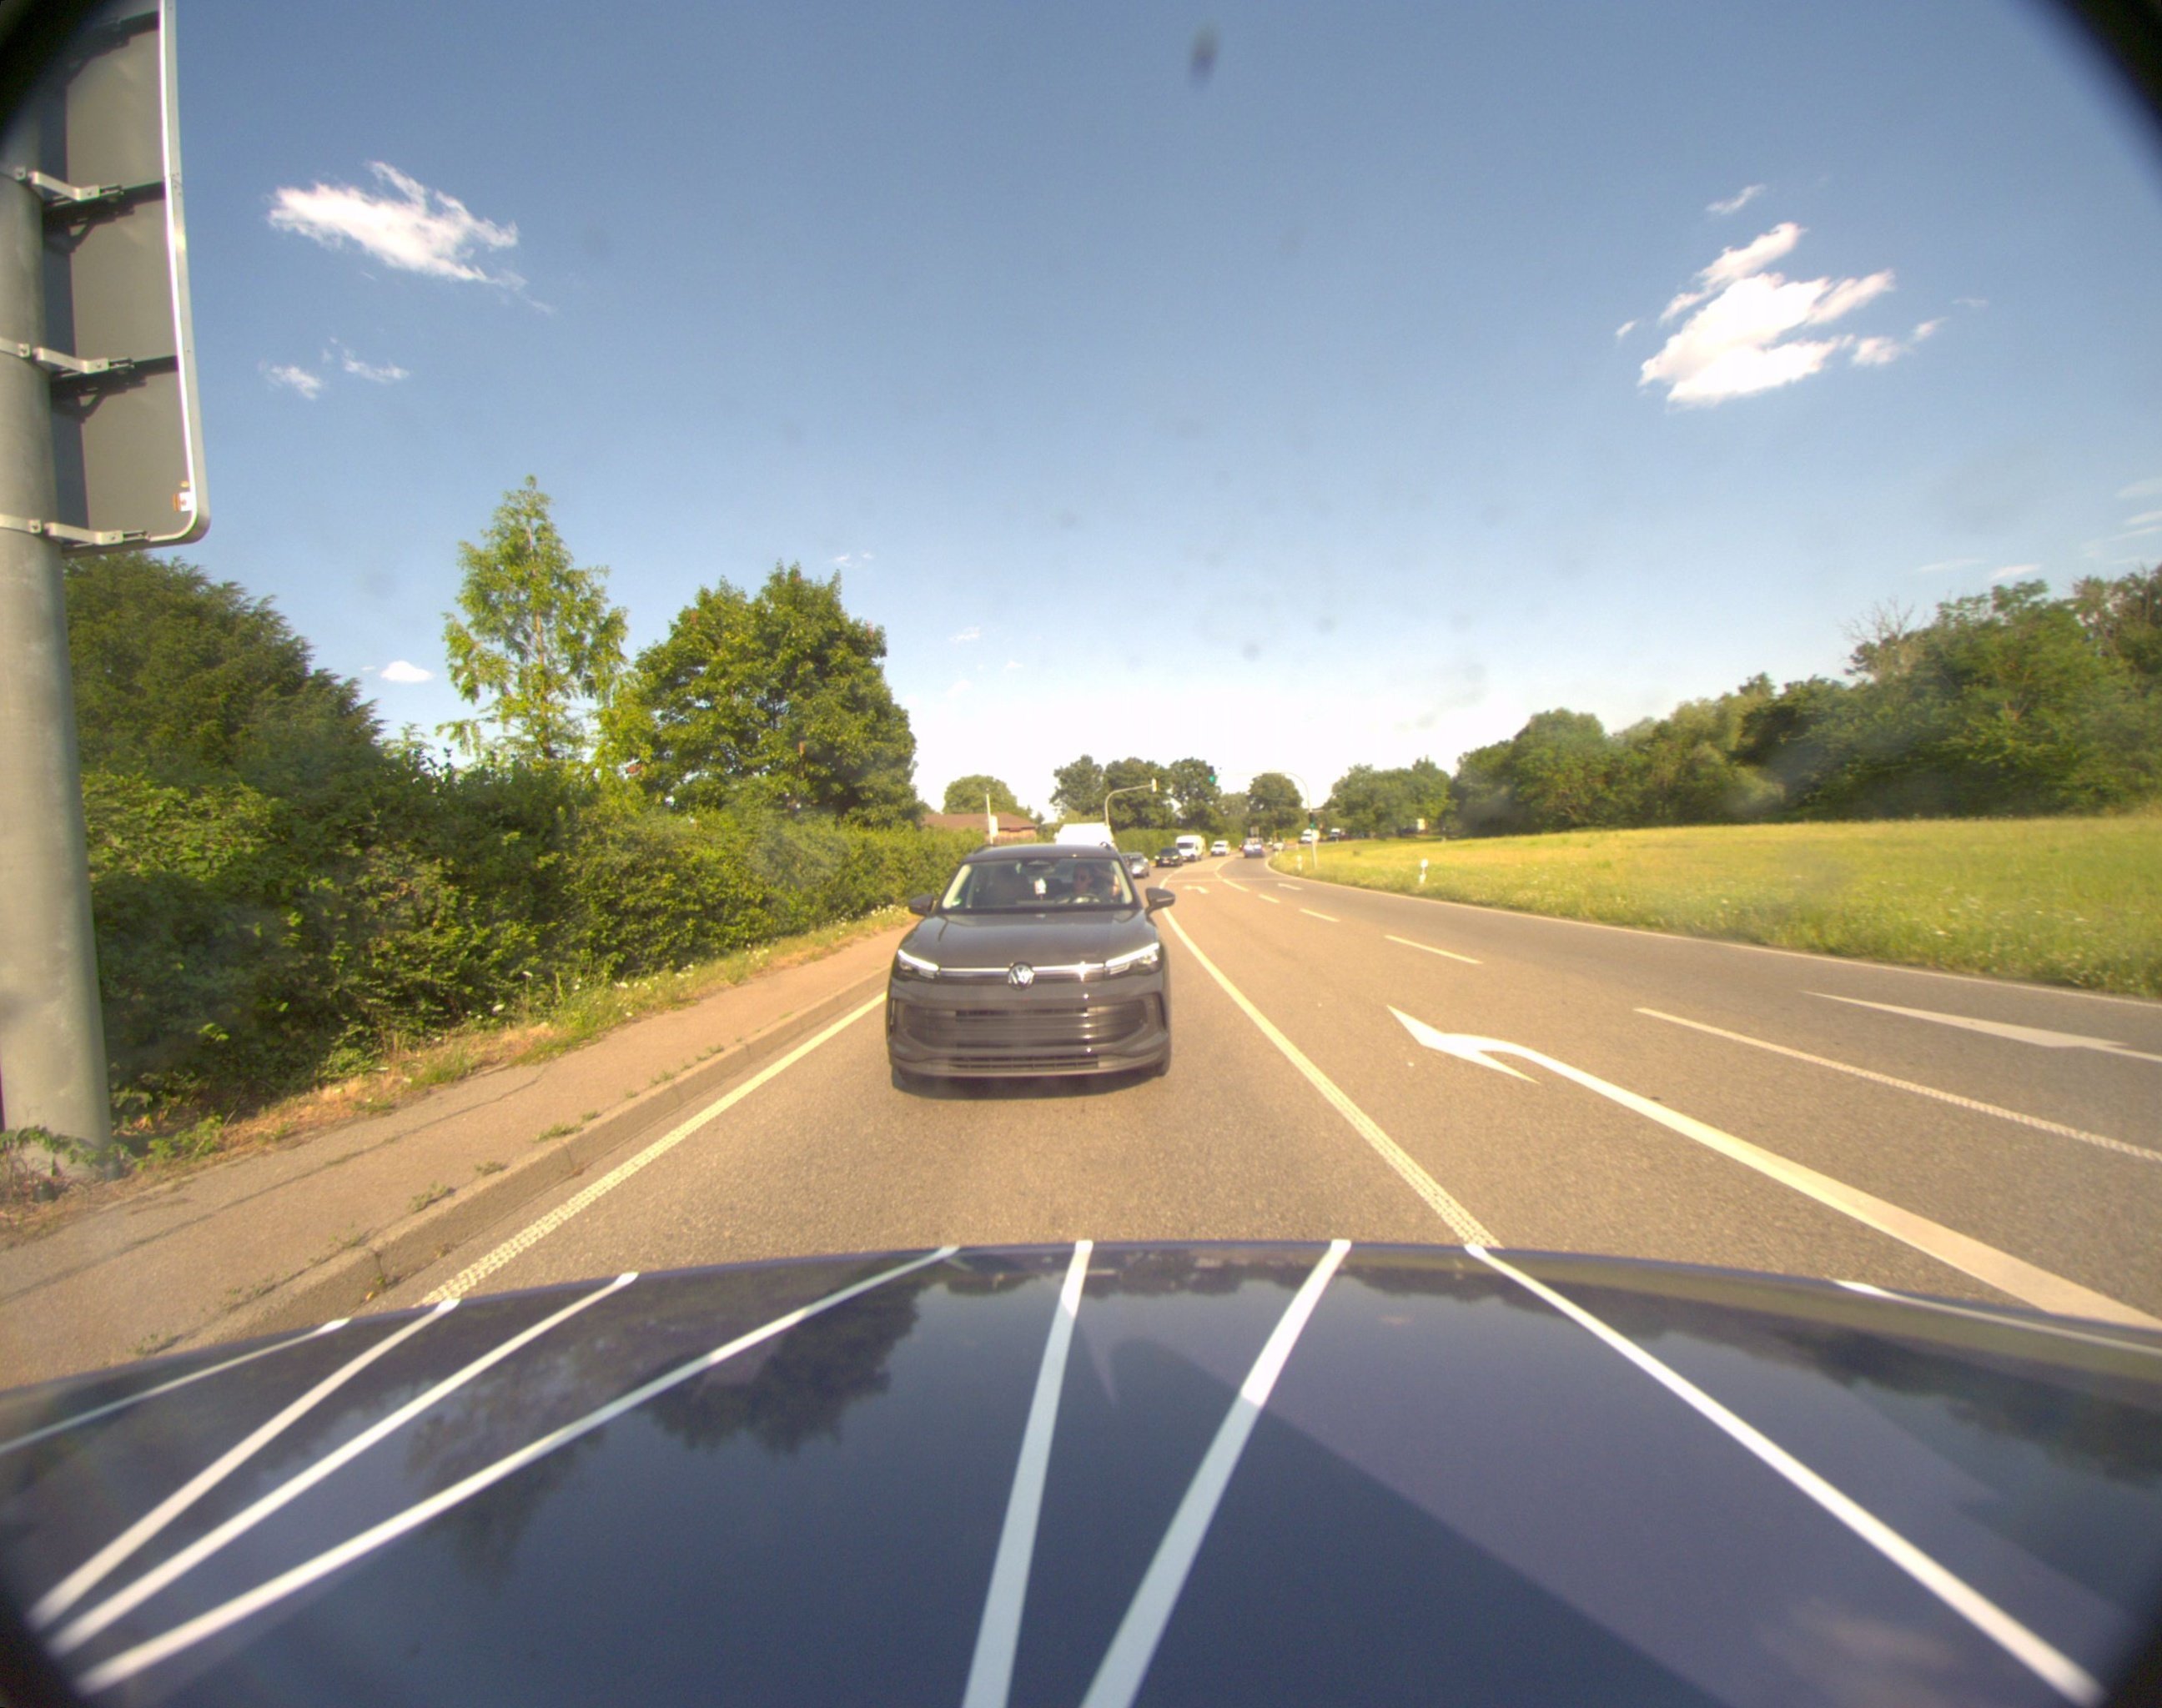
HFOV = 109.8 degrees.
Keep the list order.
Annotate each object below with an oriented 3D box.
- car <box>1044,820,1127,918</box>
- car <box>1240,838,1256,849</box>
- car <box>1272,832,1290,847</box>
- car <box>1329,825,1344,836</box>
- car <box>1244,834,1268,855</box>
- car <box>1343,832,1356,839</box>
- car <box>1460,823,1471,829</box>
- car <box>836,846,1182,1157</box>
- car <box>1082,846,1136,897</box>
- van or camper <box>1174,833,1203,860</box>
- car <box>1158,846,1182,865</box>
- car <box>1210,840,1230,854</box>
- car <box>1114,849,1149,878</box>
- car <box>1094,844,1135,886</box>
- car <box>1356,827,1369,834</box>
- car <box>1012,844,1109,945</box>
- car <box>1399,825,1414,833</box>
[{"bbox_3d":[0.250,0.361,20.744,1.844,2.338,4.791,-1,0,5],"label":"car"},{"bbox_3d":[25.774,-1.676,116.878,1.671,1.471,3.499,-4,0,24],"label":"car"},{"bbox_3d":[28.877,-2.059,109.485,1.783,2.002,3.850,-4,1,24],"label":"car"},{"bbox_3d":[57.245,-5.268,170.103,1.995,2.373,4.944,-4,1,33],"label":"car"},{"bbox_3d":[18.998,-1.013,82.455,2.000,2.124,4.785,-2,0,19],"label":"car"},{"bbox_3d":[57.258,-3.961,162.127,1.586,1.458,3.614,-1,0,38],"label":"car"},{"bbox_3d":[108.638,-7.916,214.918,3.625,1.685,1.635,-3,2,-44],"label":"car"},{"bbox_3d":[-0.360,0.802,6.183,1.865,1.633,4.000,-1,2,1],"label":"car"},{"bbox_3d":[1.101,0.598,28.025,1.693,1.718,3.669,-1,1,6],"label":"car"},{"bbox_3d":[10.650,-0.776,74.991,2.032,2.461,5.082,-4,0,15],"label":"van or camper"},{"bbox_3d":[7.243,0.090,61.731,1.605,1.471,3.619,0,1,13],"label":"car"},{"bbox_3d":[17.148,-0.842,93.522,1.671,1.471,3.499,-4,0,23],"label":"car"},{"bbox_3d":[2.904,0.486,42.983,1.633,1.549,3.419,-1,0,9],"label":"car"},{"bbox_3d":[1.574,0.452,34.405,1.673,1.718,3.668,0,2,6],"label":"car"},{"bbox_3d":[68.039,-5.655,183.540,1.654,1.595,3.876,-4,1,38],"label":"car"},{"bbox_3d":[-0.298,0.690,15.153,1.659,1.720,3.804,-1,1,2],"label":"car"},{"bbox_3d":[81.338,-6.215,189.842,1.725,1.871,4.344,-1,1,45],"label":"car"}]
